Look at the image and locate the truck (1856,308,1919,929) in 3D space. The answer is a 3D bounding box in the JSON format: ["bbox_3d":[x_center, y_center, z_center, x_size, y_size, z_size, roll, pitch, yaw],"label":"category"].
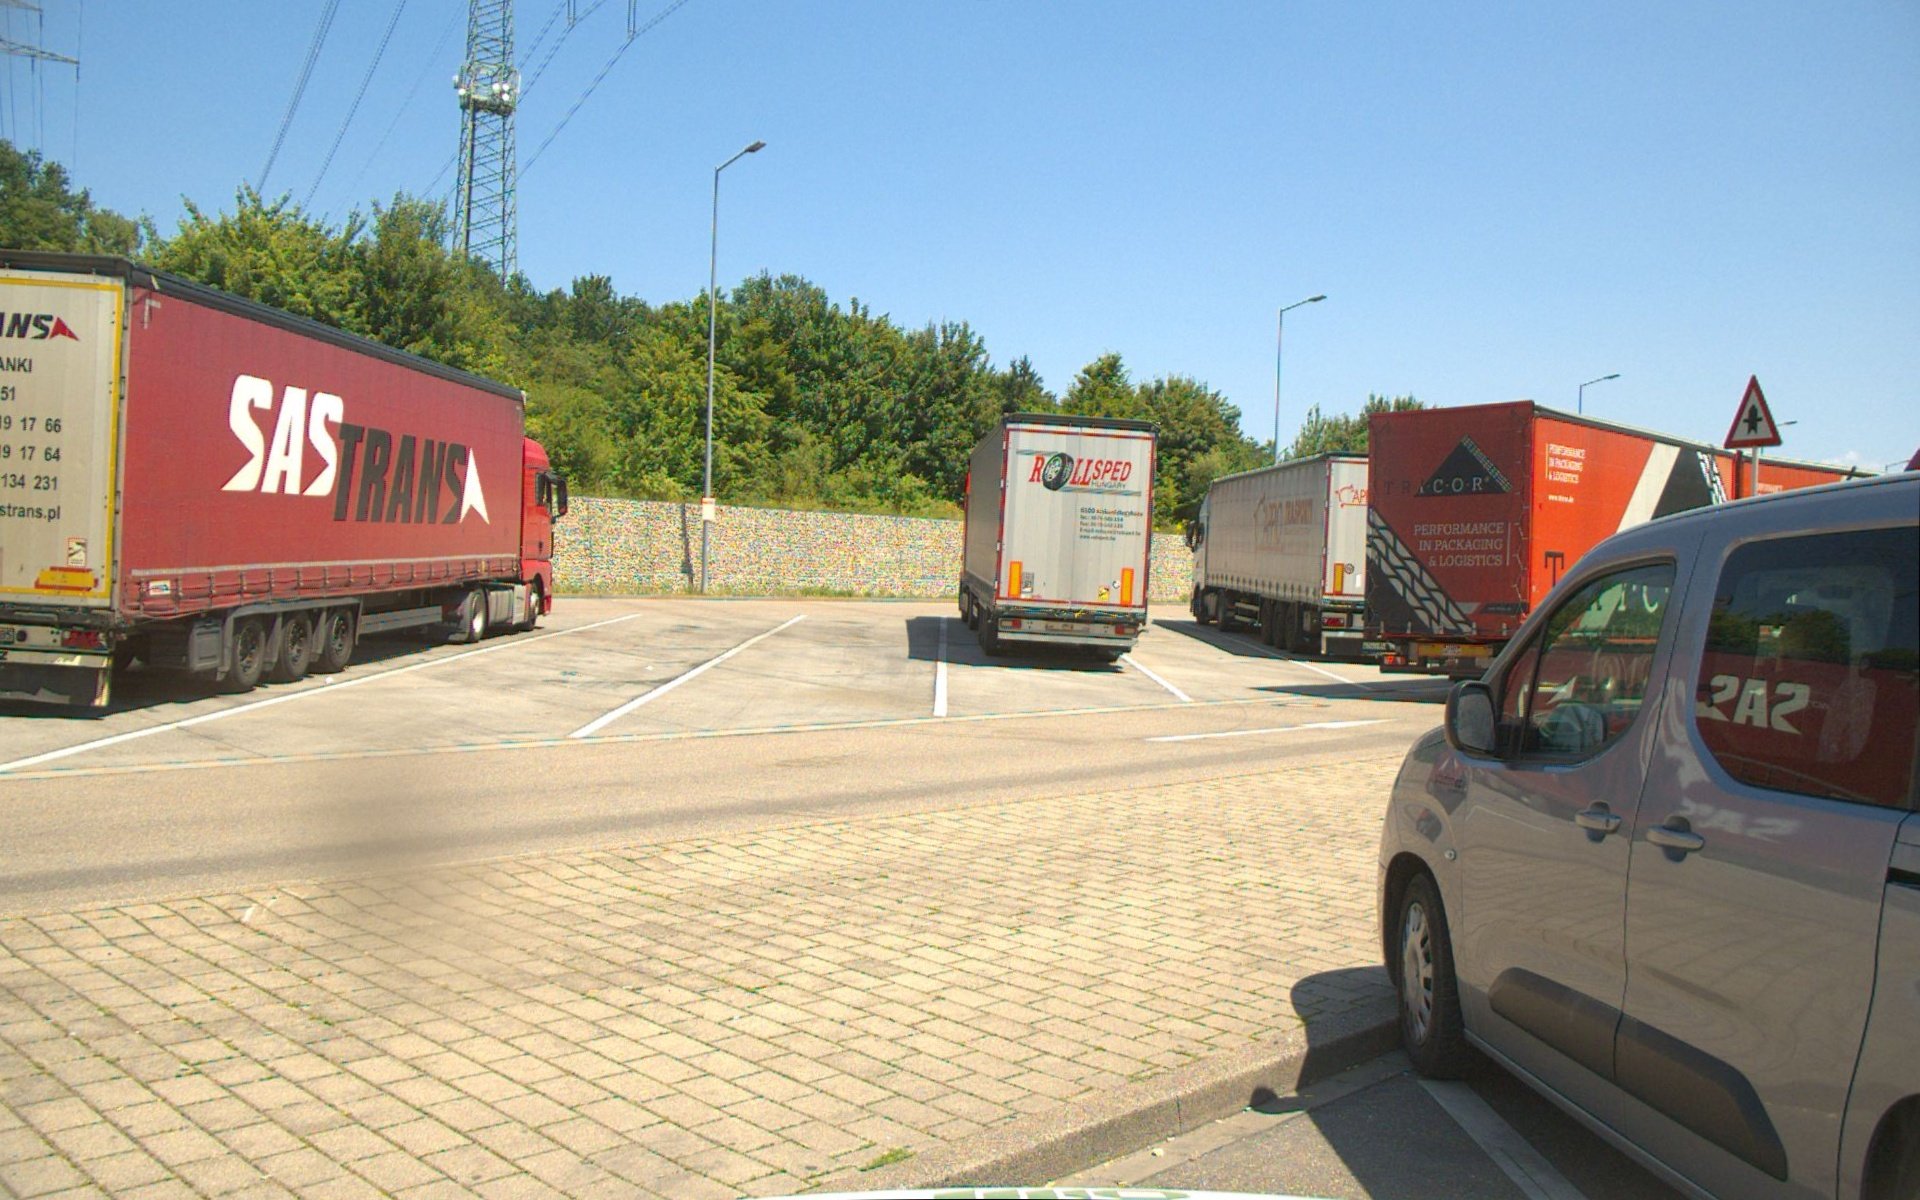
[{"bbox_3d":[4.980,0.129,4.928,1.952,2.669,5.305,1,1,3],"label":"truck"}]

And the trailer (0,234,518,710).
[{"bbox_3d":[-8.681,-1.260,21.046,2.694,4.128,13.284,1,1,-1],"label":"trailer"}]

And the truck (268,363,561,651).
[{"bbox_3d":[-8.776,-1.421,27.528,2.687,4.152,6.828,1,1,-1],"label":"truck"}]

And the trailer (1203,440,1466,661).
[{"bbox_3d":[8.203,-1.083,38.601,2.818,4.196,13.569,1,1,-1],"label":"trailer"}]

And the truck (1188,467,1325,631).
[{"bbox_3d":[8.068,-1.376,45.601,2.701,4.196,5.283,1,1,-1],"label":"truck"}]

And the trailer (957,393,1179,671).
[{"bbox_3d":[1.697,-1.313,32.669,3.008,4.301,12.805,2,2,-2],"label":"trailer"}]

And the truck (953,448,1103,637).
[{"bbox_3d":[1.464,-1.377,39.435,2.965,3.997,6.845,2,2,-2],"label":"truck"}]

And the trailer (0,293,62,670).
[{"bbox_3d":[-12.409,-1.312,15.437,2.689,4.337,9.733,1,1,0],"label":"trailer"}]

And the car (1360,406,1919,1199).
[{"bbox_3d":[2.434,0.556,3.807,1.790,1.784,3.997,1,1,-4],"label":"car"}]

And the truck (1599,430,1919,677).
[{"bbox_3d":[16.423,-0.833,32.581,10.513,4.199,2.653,0,1,-42],"label":"truck"}]

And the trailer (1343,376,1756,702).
[{"bbox_3d":[9.547,-0.854,26.053,2.795,4.332,8.625,2,1,44],"label":"trailer"}]
